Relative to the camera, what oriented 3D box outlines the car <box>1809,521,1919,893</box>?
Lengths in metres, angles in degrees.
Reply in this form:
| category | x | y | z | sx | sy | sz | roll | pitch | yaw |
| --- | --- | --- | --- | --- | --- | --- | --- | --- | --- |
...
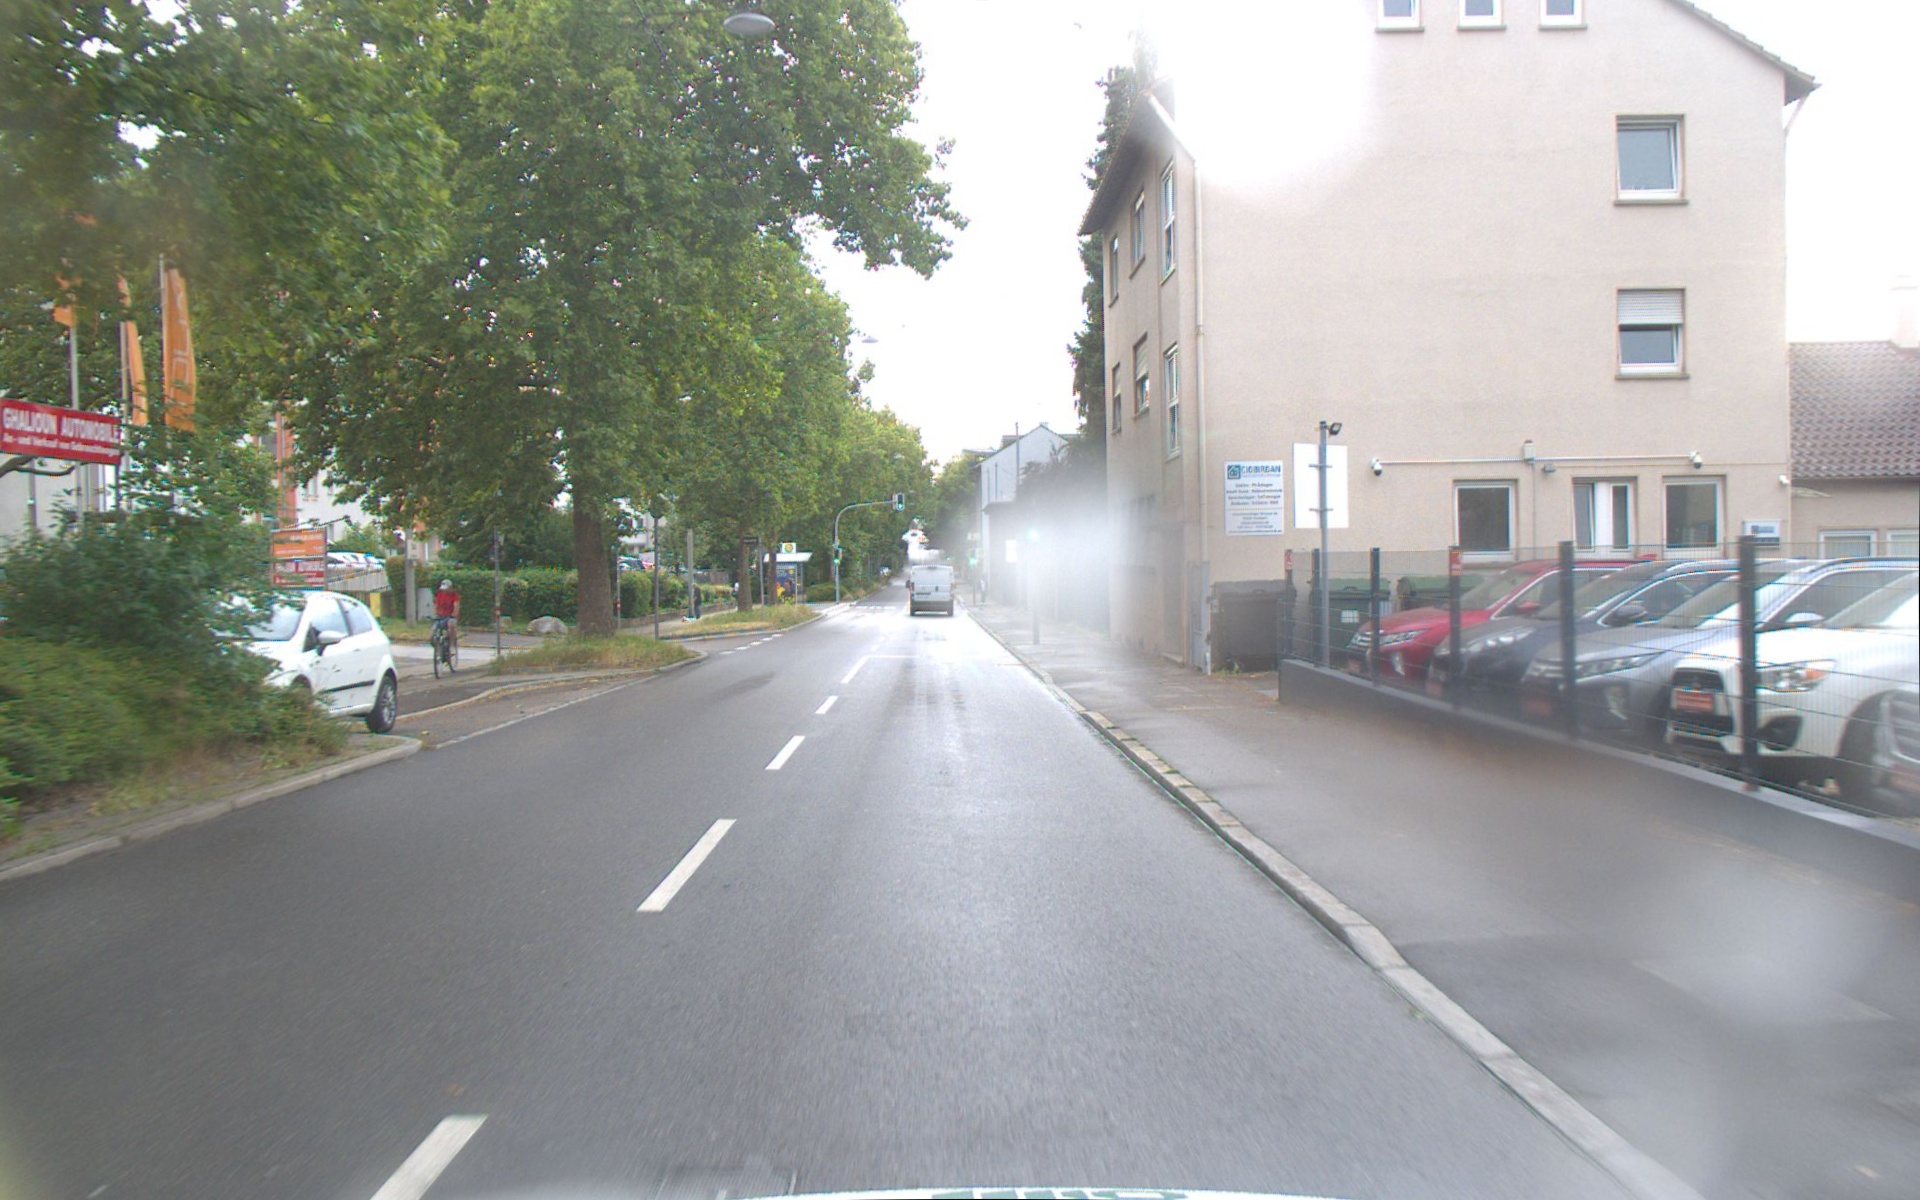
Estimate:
| category | x | y | z | sx | sy | sz | roll | pitch | yaw |
| --- | --- | --- | --- | --- | --- | --- | --- | --- | --- |
| car | 6.748 | 0.534 | 8.071 | 4.215 | 1.799 | 1.999 | 0 | -1 | -1 |

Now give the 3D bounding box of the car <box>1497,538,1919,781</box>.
| category | x | y | z | sx | sy | sz | roll | pitch | yaw |
| --- | --- | --- | --- | --- | --- | --- | --- | --- | --- |
| car | 6.601 | 0.464 | 13.245 | 3.984 | 1.767 | 1.869 | 1 | -1 | -1 |

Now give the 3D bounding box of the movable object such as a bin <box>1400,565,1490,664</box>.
| category | x | y | z | sx | sy | sz | roll | pitch | yaw |
| --- | --- | --- | --- | --- | --- | --- | --- | --- | --- |
| movable object such as a bin | 7.875 | 0.239 | 26.917 | 1.088 | 1.536 | 1.010 | -3 | -1 | -2 |

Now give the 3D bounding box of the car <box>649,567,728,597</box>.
| category | x | y | z | sx | sy | sz | roll | pitch | yaw |
| --- | --- | --- | --- | --- | --- | --- | --- | --- | --- |
| car | -16.521 | -1.089 | 100.763 | 4.453 | 1.701 | 1.999 | 1 | -1 | -2 |

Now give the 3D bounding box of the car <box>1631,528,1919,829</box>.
| category | x | y | z | sx | sy | sz | roll | pitch | yaw |
| --- | --- | --- | --- | --- | --- | --- | --- | --- | --- |
| car | 6.627 | 0.484 | 10.664 | 3.868 | 1.754 | 1.791 | 1 | 0 | -1 |

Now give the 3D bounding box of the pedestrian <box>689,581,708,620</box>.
| category | x | y | z | sx | sy | sz | roll | pitch | yaw |
| --- | --- | --- | --- | --- | --- | --- | --- | --- | --- |
| pedestrian | -11.343 | 0.025 | 71.712 | 0.741 | 1.639 | 0.834 | 1 | -1 | -6 |

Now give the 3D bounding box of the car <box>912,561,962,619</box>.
| category | x | y | z | sx | sy | sz | roll | pitch | yaw |
| --- | --- | --- | --- | --- | --- | --- | --- | --- | --- |
| car | -1.063 | -0.416 | 76.707 | 2.236 | 2.597 | 3.999 | 0 | -1 | -1 |

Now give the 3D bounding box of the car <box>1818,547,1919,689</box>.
| category | x | y | z | sx | sy | sz | roll | pitch | yaw |
| --- | --- | --- | --- | --- | --- | --- | --- | --- | --- |
| car | 11.350 | 0.210 | 18.301 | 1.771 | 1.557 | 3.626 | 1 | -1 | -2 |

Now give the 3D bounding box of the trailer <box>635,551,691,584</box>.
| category | x | y | z | sx | sy | sz | roll | pitch | yaw |
| --- | --- | --- | --- | --- | --- | --- | --- | --- | --- |
| trailer | -15.625 | -1.717 | 87.028 | 2.649 | 1.674 | 1.480 | 1 | 0 | -1 |

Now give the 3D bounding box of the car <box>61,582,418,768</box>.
| category | x | y | z | sx | sy | sz | roll | pitch | yaw |
| --- | --- | --- | --- | --- | --- | --- | --- | --- | --- |
| car | -6.933 | 0.626 | 16.466 | 1.749 | 1.578 | 4.350 | 0 | 1 | -2 |

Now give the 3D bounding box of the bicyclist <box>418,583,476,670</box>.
| category | x | y | z | sx | sy | sz | roll | pitch | yaw |
| --- | --- | --- | --- | --- | --- | --- | --- | --- | --- |
| bicyclist | -9.536 | 0.490 | 30.746 | 0.816 | 1.580 | 0.816 | 1 | -1 | -2 |

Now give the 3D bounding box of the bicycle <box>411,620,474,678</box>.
| category | x | y | z | sx | sy | sz | roll | pitch | yaw |
| --- | --- | --- | --- | --- | --- | --- | --- | --- | --- |
| bicycle | -9.519 | 0.878 | 30.502 | 0.543 | 1.013 | 2.264 | 1 | -1 | -3 |

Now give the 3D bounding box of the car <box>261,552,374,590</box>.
| category | x | y | z | sx | sy | sz | roll | pitch | yaw |
| --- | --- | --- | --- | --- | --- | --- | --- | --- | --- |
| car | -26.576 | -1.197 | 68.509 | 3.904 | 1.439 | 1.849 | 1 | -1 | 1 |

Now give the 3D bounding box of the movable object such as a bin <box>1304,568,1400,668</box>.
| category | x | y | z | sx | sy | sz | roll | pitch | yaw |
| --- | --- | --- | --- | --- | --- | --- | --- | --- | --- |
| movable object such as a bin | 6.360 | 0.288 | 26.879 | 1.209 | 1.536 | 1.110 | -3 | -1 | -2 |

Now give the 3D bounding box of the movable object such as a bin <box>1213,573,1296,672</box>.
| category | x | y | z | sx | sy | sz | roll | pitch | yaw |
| --- | --- | --- | --- | --- | --- | --- | --- | --- | --- |
| movable object such as a bin | 4.781 | 0.365 | 26.918 | 1.088 | 1.536 | 0.986 | -3 | -1 | -2 |

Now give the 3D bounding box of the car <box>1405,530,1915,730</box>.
| category | x | y | z | sx | sy | sz | roll | pitch | yaw |
| --- | --- | --- | --- | --- | --- | --- | --- | --- | --- |
| car | 6.629 | 0.287 | 15.976 | 4.142 | 1.767 | 1.869 | 1 | -1 | -1 |

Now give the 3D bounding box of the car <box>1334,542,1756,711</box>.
| category | x | y | z | sx | sy | sz | roll | pitch | yaw |
| --- | --- | --- | --- | --- | --- | --- | --- | --- | --- |
| car | 6.547 | 0.301 | 18.814 | 4.142 | 1.767 | 1.869 | 1 | -1 | -1 |

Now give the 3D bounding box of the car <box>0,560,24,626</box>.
| category | x | y | z | sx | sy | sz | roll | pitch | yaw |
| --- | --- | --- | --- | --- | --- | --- | --- | --- | --- |
| car | -28.232 | -0.261 | 45.408 | 3.906 | 1.810 | 1.879 | 2 | -1 | -2 |

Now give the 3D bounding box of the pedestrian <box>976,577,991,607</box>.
| category | x | y | z | sx | sy | sz | roll | pitch | yaw |
| --- | --- | --- | --- | --- | --- | --- | --- | --- | --- |
| pedestrian | 1.359 | -0.446 | 96.036 | 0.728 | 1.734 | 0.900 | 1 | -1 | -7 |
